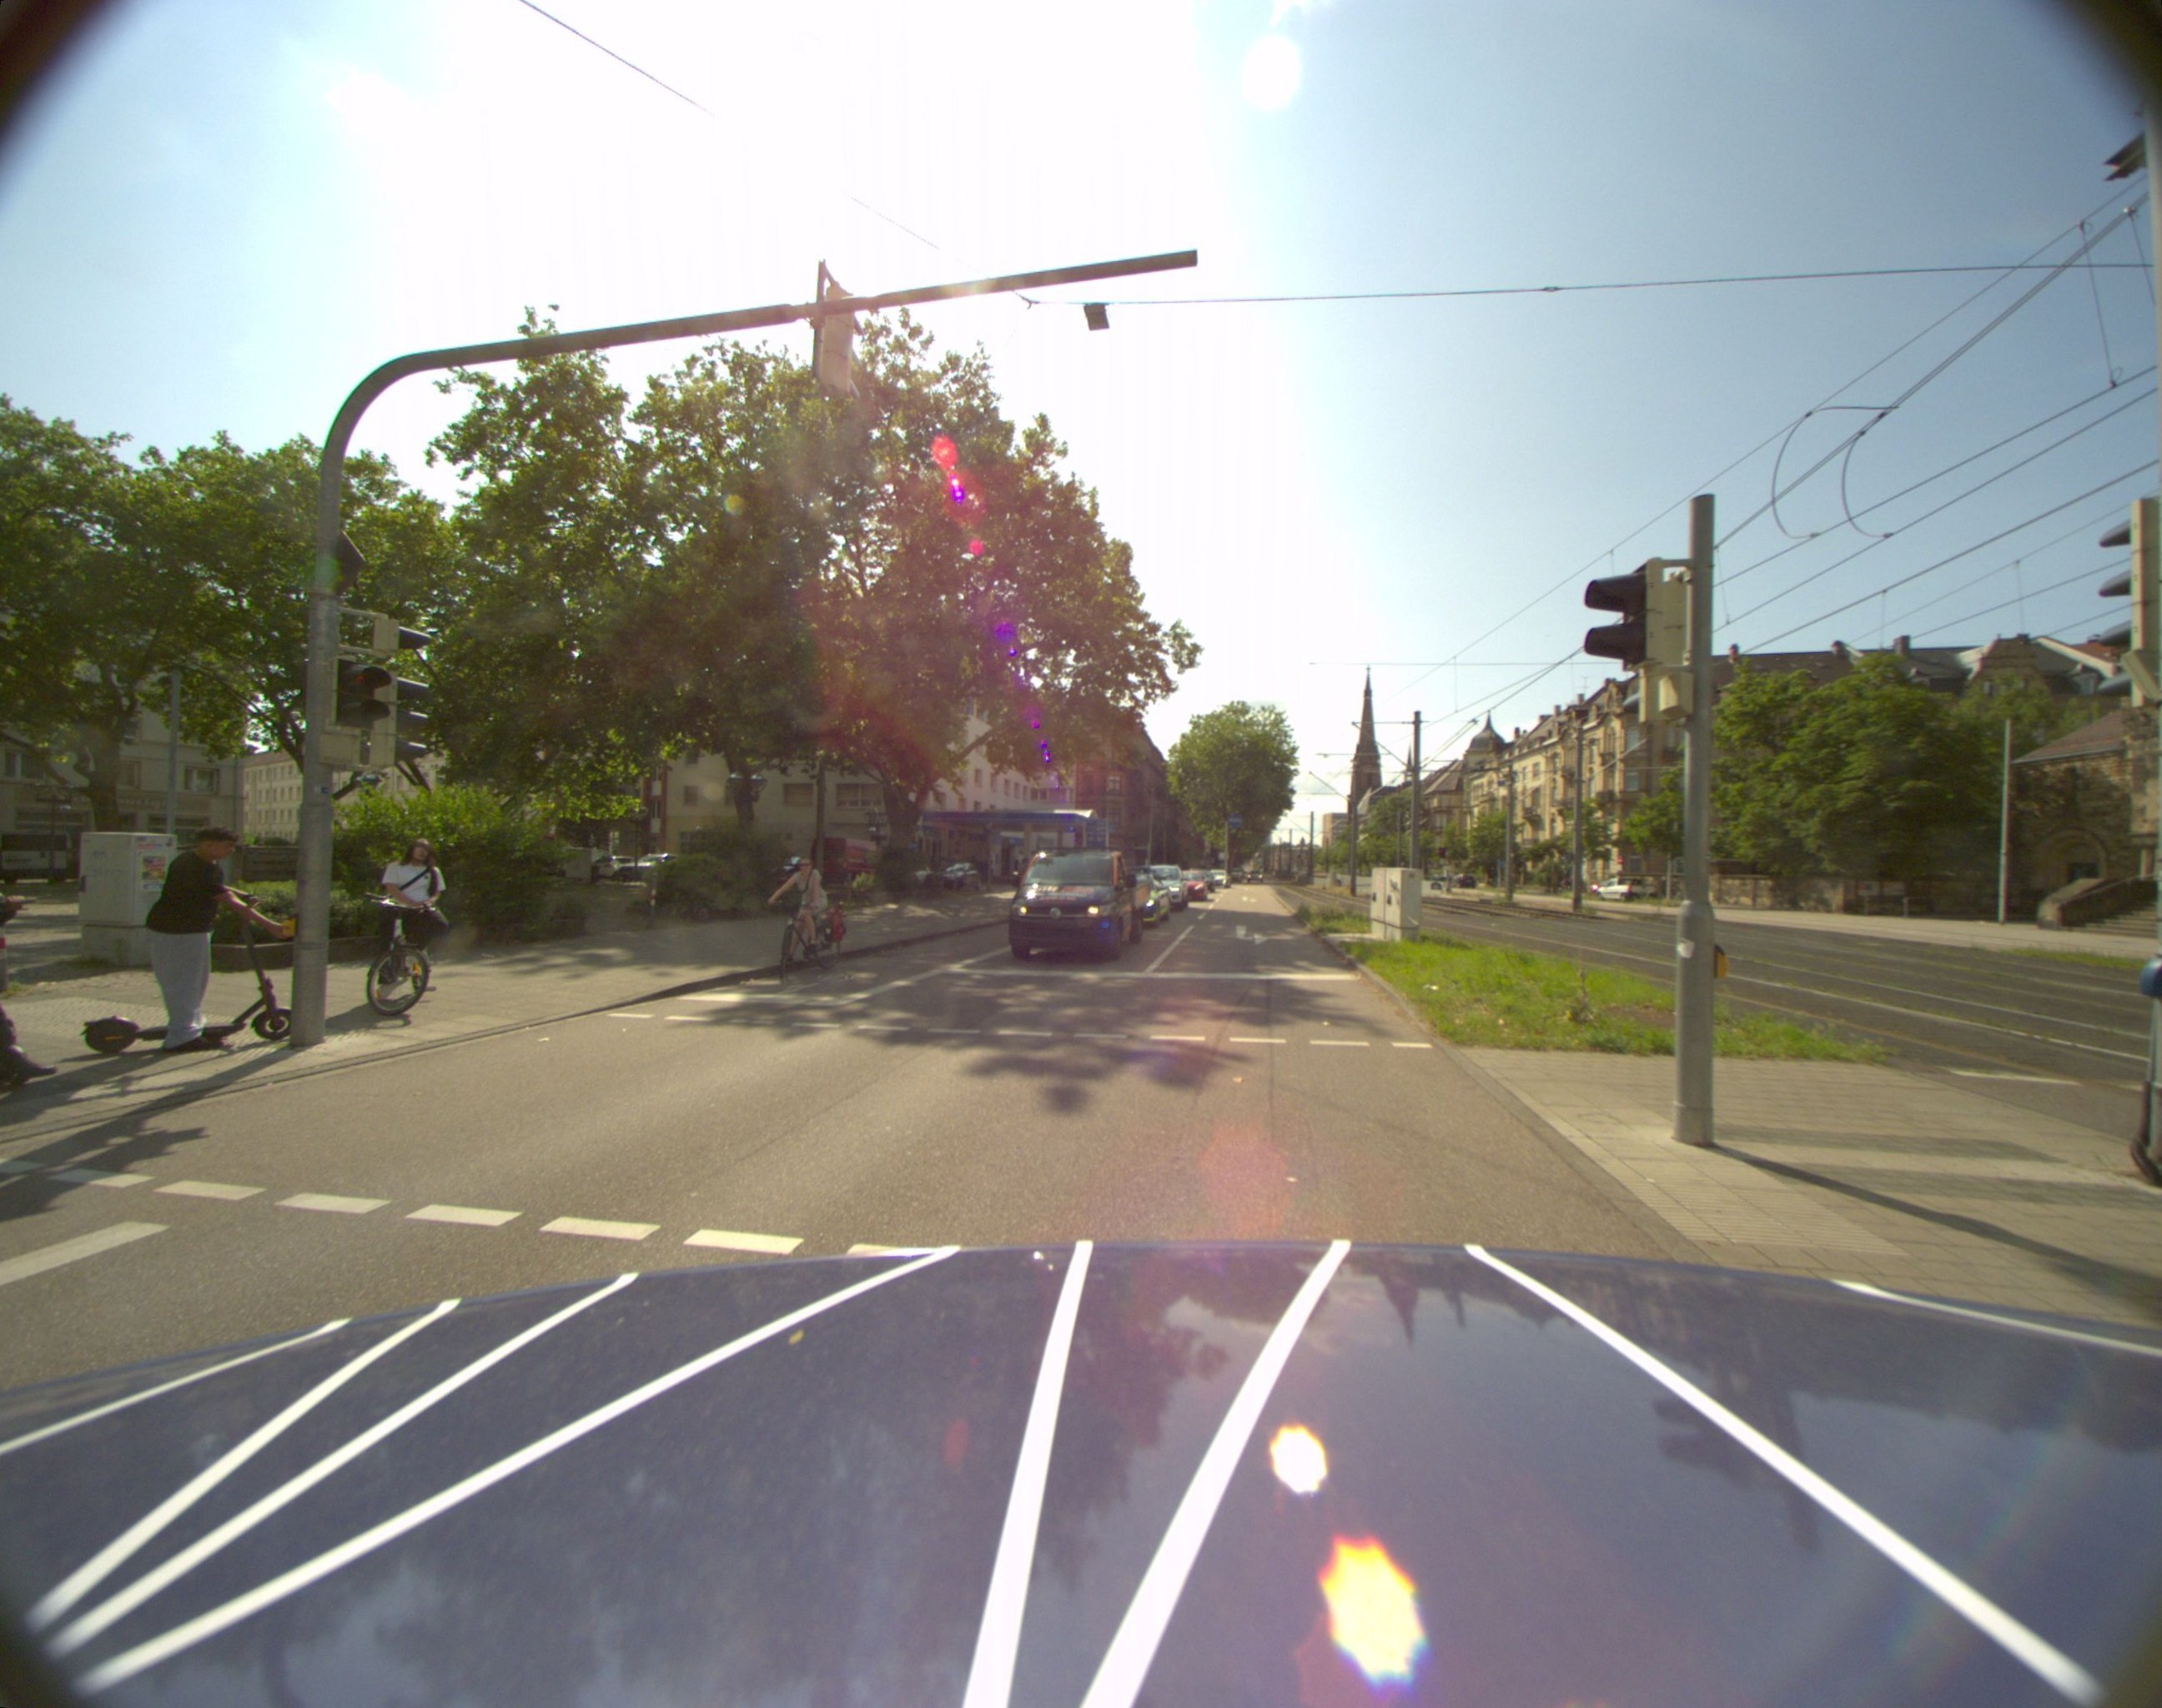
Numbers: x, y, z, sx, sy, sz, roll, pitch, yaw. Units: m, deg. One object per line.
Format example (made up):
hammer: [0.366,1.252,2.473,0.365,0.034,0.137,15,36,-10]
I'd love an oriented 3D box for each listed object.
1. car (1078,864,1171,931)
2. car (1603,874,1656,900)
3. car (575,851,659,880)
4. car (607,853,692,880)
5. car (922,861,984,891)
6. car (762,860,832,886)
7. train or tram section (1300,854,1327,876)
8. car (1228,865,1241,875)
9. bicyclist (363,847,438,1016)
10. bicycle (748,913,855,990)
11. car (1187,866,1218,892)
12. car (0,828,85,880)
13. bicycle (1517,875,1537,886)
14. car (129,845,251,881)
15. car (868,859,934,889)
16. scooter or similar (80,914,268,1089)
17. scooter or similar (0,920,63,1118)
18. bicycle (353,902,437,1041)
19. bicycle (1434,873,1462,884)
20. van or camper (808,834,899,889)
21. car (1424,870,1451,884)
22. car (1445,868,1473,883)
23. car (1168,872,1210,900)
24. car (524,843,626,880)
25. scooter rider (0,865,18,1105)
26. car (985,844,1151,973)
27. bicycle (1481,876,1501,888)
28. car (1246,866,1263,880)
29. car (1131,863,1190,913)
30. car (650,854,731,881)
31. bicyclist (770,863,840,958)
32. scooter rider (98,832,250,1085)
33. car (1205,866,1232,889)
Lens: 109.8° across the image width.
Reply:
car: [1.392,1.117,21.713,1.869,1.642,5.159,0,0,12]
car: [34.537,2.031,47.945,1.670,1.408,3.850,3,1,20]
car: [-25.705,0.649,42.255,1.661,1.511,4.004,-1,-1,11]
car: [-23.236,0.677,41.086,1.765,1.355,4.004,-1,-1,11]
car: [-6.323,1.064,38.035,1.755,1.402,4.004,1,0,11]
car: [-14.635,0.945,39.353,1.476,1.286,4.004,-1,-1,11]
train or tram section: [38.918,1.822,127.541,2.857,3.559,12.848,1,0,11]
car: [20.565,2.169,101.861,1.499,1.295,3.495,-1,-1,14]
bicyclist: [-7.037,0.773,7.879,0.508,1.659,0.582,2,2,-39]
bicycle: [-4.100,1.406,11.285,0.470,0.916,1.720,1,0,20]
car: [7.770,1.572,48.412,1.762,1.490,4.191,1,0,12]
car: [-43.181,0.053,30.817,3.925,2.001,2.259,-1,0,19]
bicycle: [45.517,2.679,77.500,1.709,1.063,0.471,-1,0,6]
car: [-41.825,0.409,35.709,4.077,1.524,1.853,1,0,9]
car: [-9.022,0.976,38.452,1.755,1.402,4.004,1,0,11]
scooter or similar: [-6.979,1.082,5.867,0.543,1.164,0.879,3,0,37]
scooter or similar: [-7.251,1.040,4.760,0.877,1.219,0.544,3,0,-10]
bicycle: [-6.888,1.113,7.675,0.508,1.106,1.626,2,1,-39]
bicycle: [43.402,2.923,89.807,2.954,1.239,0.793,1,0,-1]
van or camper: [-11.694,0.387,39.527,2.105,2.625,5.355,-1,-1,13]
car: [43.741,2.808,93.337,1.801,1.517,4.493,0,-1,8]
car: [41.552,2.314,83.549,1.688,1.493,4.713,1,0,13]
car: [5.256,1.516,36.669,1.618,1.182,3.637,1,0,13]
car: [-28.197,0.432,42.531,1.997,1.923,4.687,-1,-1,11]
scooter rider: [-7.278,0.857,4.752,0.438,1.584,0.544,3,0,-10]
car: [0.012,0.820,14.750,2.078,1.975,5.340,1,1,12]
bicycle: [40.202,2.756,74.537,1.709,1.063,0.471,1,0,6]
car: [20.332,2.167,89.188,1.762,1.490,4.191,1,0,12]
car: [3.124,1.229,29.060,1.762,1.597,4.683,1,1,12]
car: [-20.785,0.696,40.635,1.765,1.355,4.004,-1,-1,11]
bicyclist: [-4.088,0.814,11.295,0.470,1.335,0.911,1,0,20]
scooter rider: [-6.973,0.754,5.851,0.543,1.799,0.681,3,0,37]
car: [10.921,1.829,60.225,1.950,1.597,5.080,1,1,12]
